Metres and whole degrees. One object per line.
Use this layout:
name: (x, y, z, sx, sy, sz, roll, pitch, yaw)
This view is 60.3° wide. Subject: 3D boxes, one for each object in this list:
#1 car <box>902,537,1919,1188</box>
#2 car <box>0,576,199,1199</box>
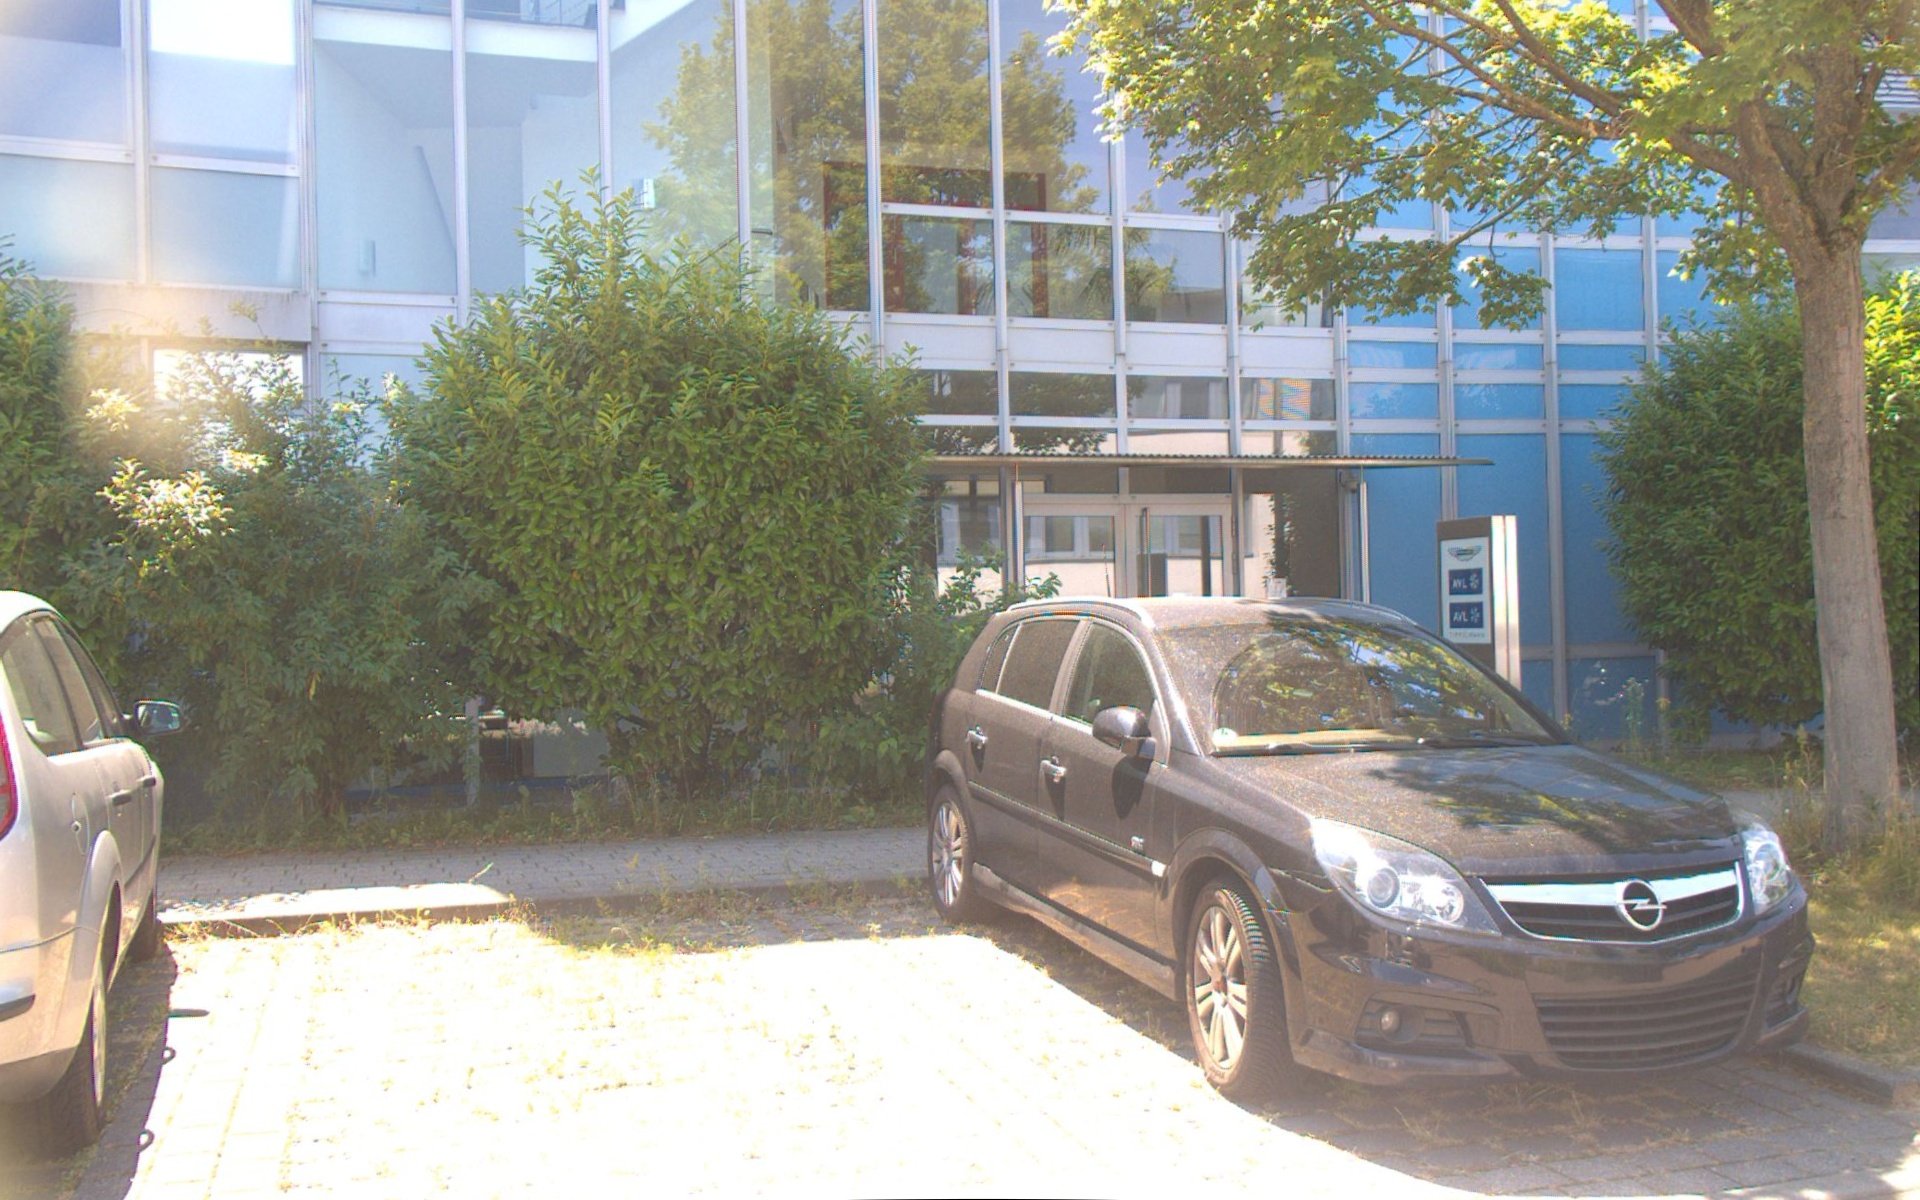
car: (1.191, 0.654, 6.455, 1.730, 1.576, 4.543, 0, -1, -17)
car: (-3.480, 0.721, 5.246, 1.695, 1.505, 4.320, 0, -1, -22)
